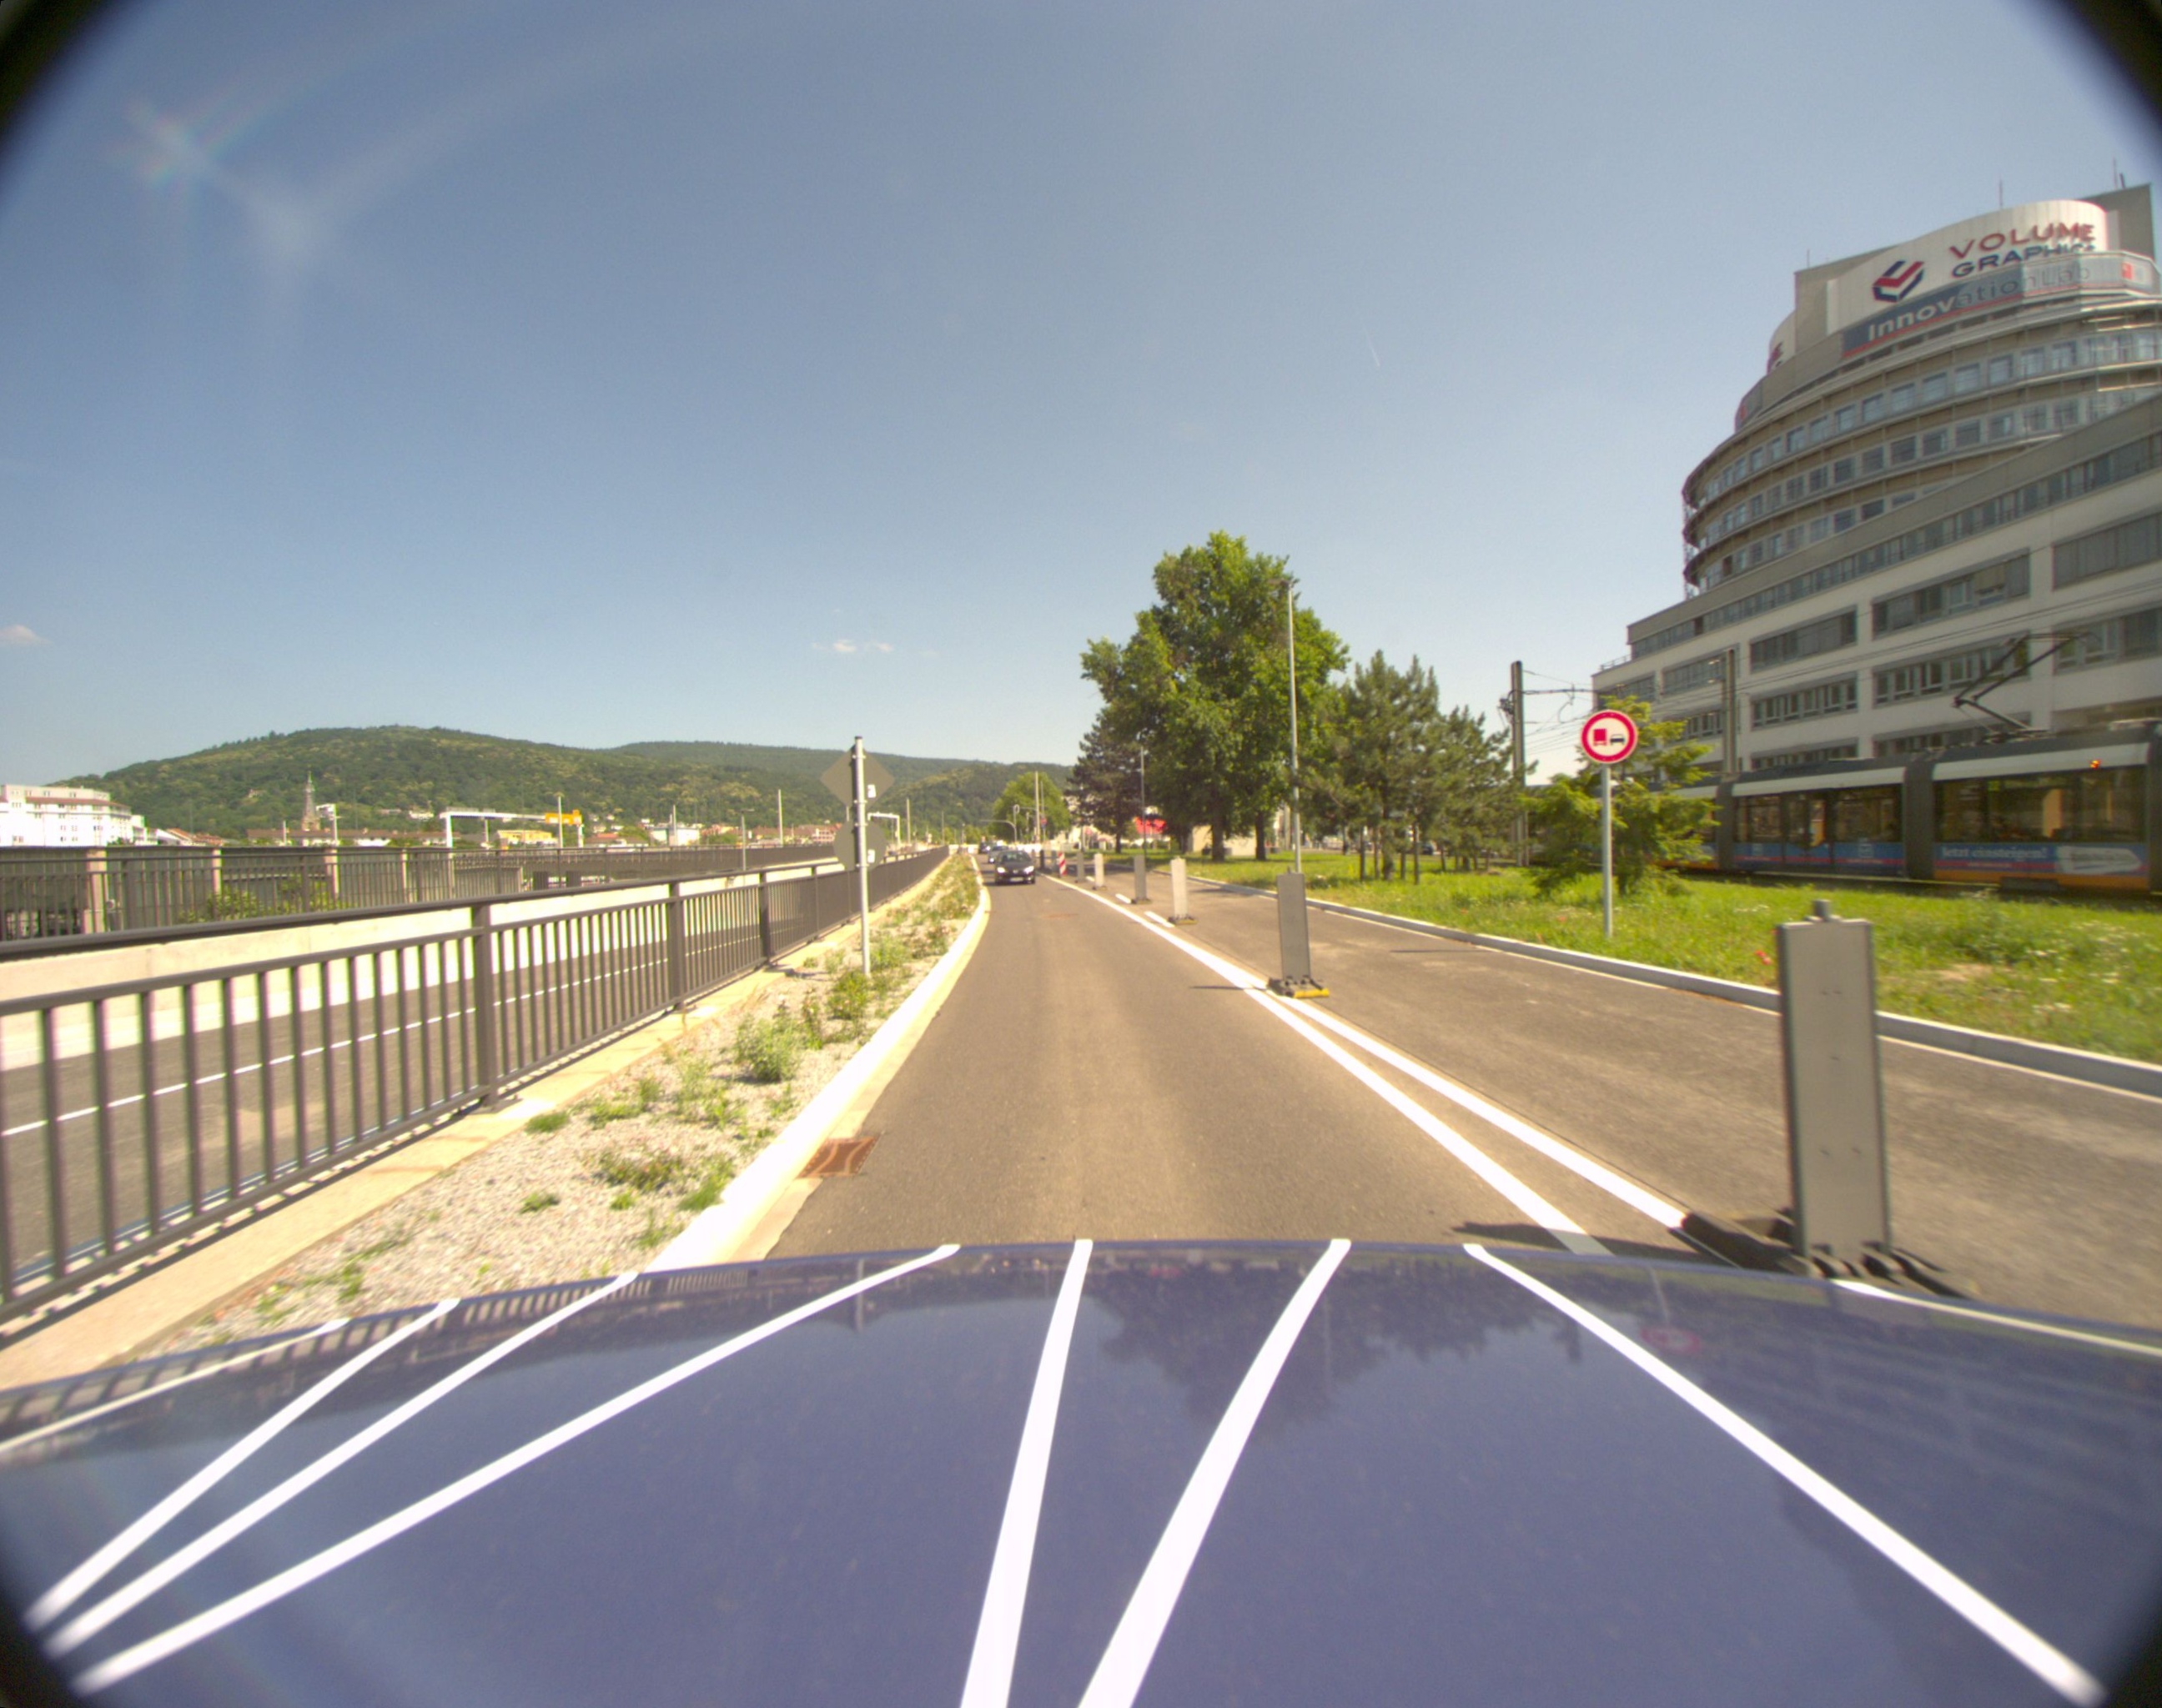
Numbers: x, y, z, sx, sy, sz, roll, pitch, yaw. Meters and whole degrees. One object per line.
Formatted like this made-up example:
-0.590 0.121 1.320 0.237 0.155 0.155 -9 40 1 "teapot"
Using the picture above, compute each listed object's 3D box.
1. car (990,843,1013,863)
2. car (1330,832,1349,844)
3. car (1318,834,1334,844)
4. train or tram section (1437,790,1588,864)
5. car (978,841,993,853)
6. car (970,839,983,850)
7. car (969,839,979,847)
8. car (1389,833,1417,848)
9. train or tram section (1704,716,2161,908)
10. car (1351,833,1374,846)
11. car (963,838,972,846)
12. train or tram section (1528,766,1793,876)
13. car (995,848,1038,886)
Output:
-6.350 -0.108 60.171 1.619 1.433 3.764 -2 1 -8 "car"
36.291 -2.247 106.649 1.890 1.493 3.804 -2 2 9 "car"
38.486 -2.380 119.416 1.890 1.493 3.804 -2 2 9 "car"
23.513 -1.413 42.453 2.630 3.431 11.783 -3 1 6 "train or tram section"
-12.256 -0.904 97.495 1.620 1.433 3.764 -2 1 -10 "car"
-14.579 -1.357 106.097 1.620 1.433 3.764 -2 1 -10 "car"
-19.965 -2.066 141.477 1.620 1.433 3.763 -2 2 -11 "car"
32.758 -1.394 77.420 1.890 1.368 3.805 -2 2 11 "car"
21.201 -0.930 18.896 2.630 3.431 11.783 -3 1 6 "train or tram section"
34.416 -1.814 92.919 1.890 1.493 3.804 -2 2 8 "car"
-23.120 -2.425 154.235 1.620 1.433 3.763 -2 2 -11 "car"
22.365 -1.179 30.682 2.630 3.431 11.783 -3 1 6 "train or tram section"
-2.763 0.507 32.142 1.619 1.433 3.703 -2 1 -7 "car"
